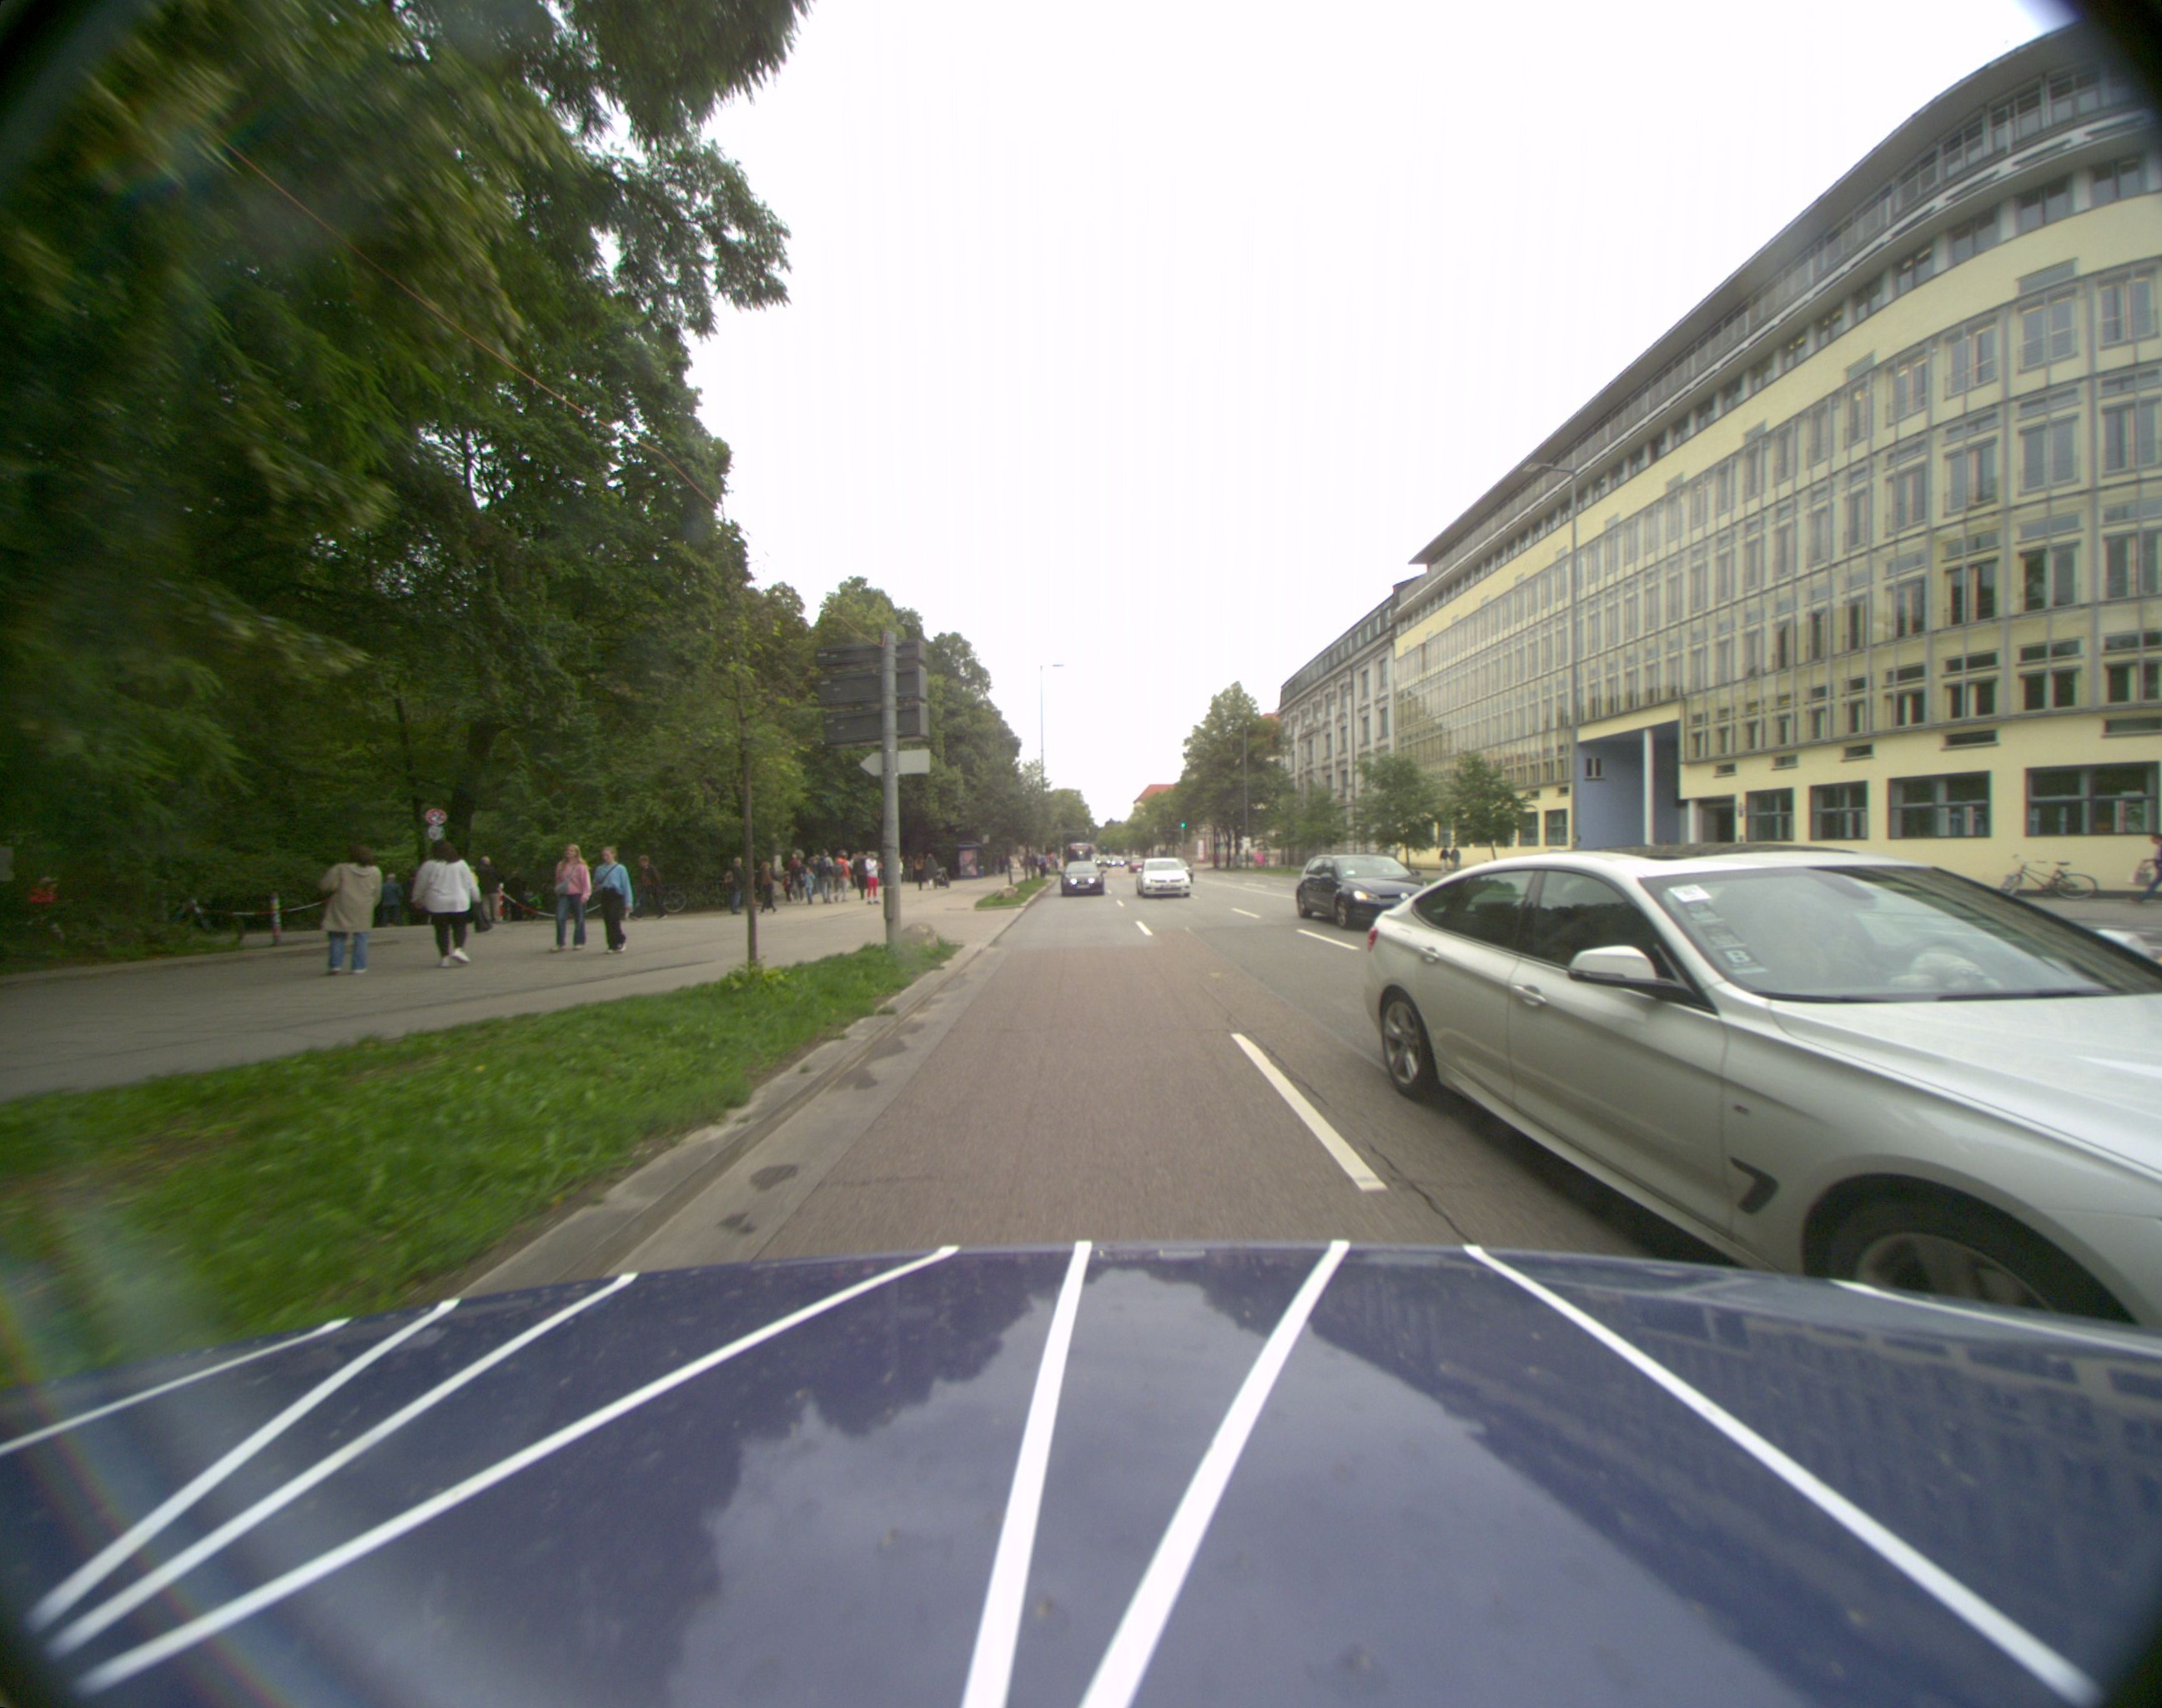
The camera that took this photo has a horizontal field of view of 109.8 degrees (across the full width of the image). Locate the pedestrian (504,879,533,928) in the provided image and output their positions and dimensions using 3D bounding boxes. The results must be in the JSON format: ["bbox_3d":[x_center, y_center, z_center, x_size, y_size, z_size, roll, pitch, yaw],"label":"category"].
[{"bbox_3d":[-17.180,1.509,23.208,0.407,1.465,0.519,-2,1,22],"label":"pedestrian"}]

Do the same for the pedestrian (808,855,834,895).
[{"bbox_3d":[-10.907,0.873,31.868,0.814,1.681,0.729,0,1,3],"label":"pedestrian"}]

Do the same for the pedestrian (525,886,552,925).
[{"bbox_3d":[-17.295,1.647,24.212,0.407,1.191,0.519,-2,1,22],"label":"pedestrian"}]

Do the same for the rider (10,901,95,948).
[{"bbox_3d":[-22.662,1.545,16.757,0.892,0.935,0.610,-2,1,-19],"label":"rider"}]

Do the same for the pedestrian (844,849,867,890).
[{"bbox_3d":[-10.876,0.745,36.695,0.814,1.906,0.729,-2,1,3],"label":"pedestrian"}]

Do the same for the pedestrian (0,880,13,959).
[{"bbox_3d":[-23.569,1.428,16.164,0.693,1.686,0.610,-3,1,-19],"label":"pedestrian"}]

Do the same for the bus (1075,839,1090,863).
[{"bbox_3d":[0.175,-0.364,85.192,1.638,2.570,6.701,-1,0,0],"label":"bus"}]

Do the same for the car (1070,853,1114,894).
[{"bbox_3d":[0.443,0.787,33.483,1.797,1.627,4.274,-1,1,0],"label":"car"}]

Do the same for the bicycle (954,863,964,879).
[{"bbox_3d":[-8.451,1.147,52.602,0.394,1.054,1.576,-2,0,0],"label":"bicycle"}]

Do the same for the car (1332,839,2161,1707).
[{"bbox_3d":[2.777,0.772,3.129,1.797,1.627,5.025,-1,1,0],"label":"car"}]

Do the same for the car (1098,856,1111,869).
[{"bbox_3d":[3.065,1.086,98.888,1.638,1.562,3.945,-1,0,0],"label":"car"}]

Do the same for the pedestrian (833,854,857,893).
[{"bbox_3d":[-10.942,0.889,35.218,0.814,1.729,0.729,-2,1,3],"label":"pedestrian"}]

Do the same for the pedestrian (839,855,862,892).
[{"bbox_3d":[-10.905,0.909,35.962,0.814,1.681,0.729,-2,1,3],"label":"pedestrian"}]

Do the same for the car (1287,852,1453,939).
[{"bbox_3d":[5.715,0.726,15.643,1.696,1.507,4.338,-1,0,-1],"label":"car"}]

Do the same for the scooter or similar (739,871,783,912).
[{"bbox_3d":[-10.057,1.179,23.856,1.563,1.249,0.349,-2,1,31],"label":"scooter or similar"}]

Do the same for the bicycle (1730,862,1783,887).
[{"bbox_3d":[25.125,0.755,28.293,0.478,0.872,1.737,-1,0,3],"label":"bicycle"}]

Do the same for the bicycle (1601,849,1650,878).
[{"bbox_3d":[26.176,0.446,36.526,2.014,1.311,0.574,-2,1,-5],"label":"bicycle"}]

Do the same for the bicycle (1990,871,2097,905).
[{"bbox_3d":[26.258,0.911,20.778,1.732,0.872,0.587,-1,0,42],"label":"bicycle"}]

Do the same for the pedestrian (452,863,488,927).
[{"bbox_3d":[-17.348,1.151,21.572,0.520,1.753,0.569,-2,1,31],"label":"pedestrian"}]

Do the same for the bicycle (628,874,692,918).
[{"bbox_3d":[-12.626,1.249,22.832,1.602,1.232,0.391,-3,1,-27],"label":"bicycle"}]

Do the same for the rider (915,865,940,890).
[{"bbox_3d":[-7.337,1.115,36.379,0.766,1.106,1.244,-2,0,5],"label":"rider"}]

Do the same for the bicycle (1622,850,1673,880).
[{"bbox_3d":[26.310,0.493,35.297,2.014,1.311,0.574,-2,1,-5],"label":"bicycle"}]

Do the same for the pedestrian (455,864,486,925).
[{"bbox_3d":[-17.866,1.170,22.252,0.526,1.753,0.437,-2,1,22],"label":"pedestrian"}]

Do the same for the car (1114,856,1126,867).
[{"bbox_3d":[5.567,1.051,108.790,1.638,1.562,3.945,-1,0,0],"label":"car"}]

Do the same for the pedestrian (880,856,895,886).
[{"bbox_3d":[-10.922,0.955,42.930,0.637,1.607,0.533,-2,1,3],"label":"pedestrian"}]

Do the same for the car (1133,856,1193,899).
[{"bbox_3d":[3.025,0.835,28.868,1.797,1.439,4.274,-1,1,0],"label":"car"}]

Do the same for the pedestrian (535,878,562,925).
[{"bbox_3d":[-16.841,1.492,24.028,0.407,1.465,0.519,-2,1,22],"label":"pedestrian"}]

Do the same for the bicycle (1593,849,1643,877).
[{"bbox_3d":[26.265,0.429,37.182,2.014,1.311,0.638,-2,1,-5],"label":"bicycle"}]

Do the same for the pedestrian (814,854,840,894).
[{"bbox_3d":[-10.919,0.868,32.658,0.814,1.681,0.729,-1,1,3],"label":"pedestrian"}]

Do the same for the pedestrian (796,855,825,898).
[{"bbox_3d":[-10.977,0.918,30.884,0.814,1.681,0.729,-2,1,3],"label":"pedestrian"}]

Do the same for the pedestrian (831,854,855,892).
[{"bbox_3d":[-10.778,0.842,34.416,0.814,1.681,0.729,0,1,3],"label":"pedestrian"}]

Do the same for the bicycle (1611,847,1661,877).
[{"bbox_3d":[26.229,0.388,35.900,2.014,1.311,0.574,-2,1,-5],"label":"bicycle"}]

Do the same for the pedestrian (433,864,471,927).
[{"bbox_3d":[-17.965,1.176,21.701,0.610,1.753,0.552,-2,1,22],"label":"pedestrian"}]
